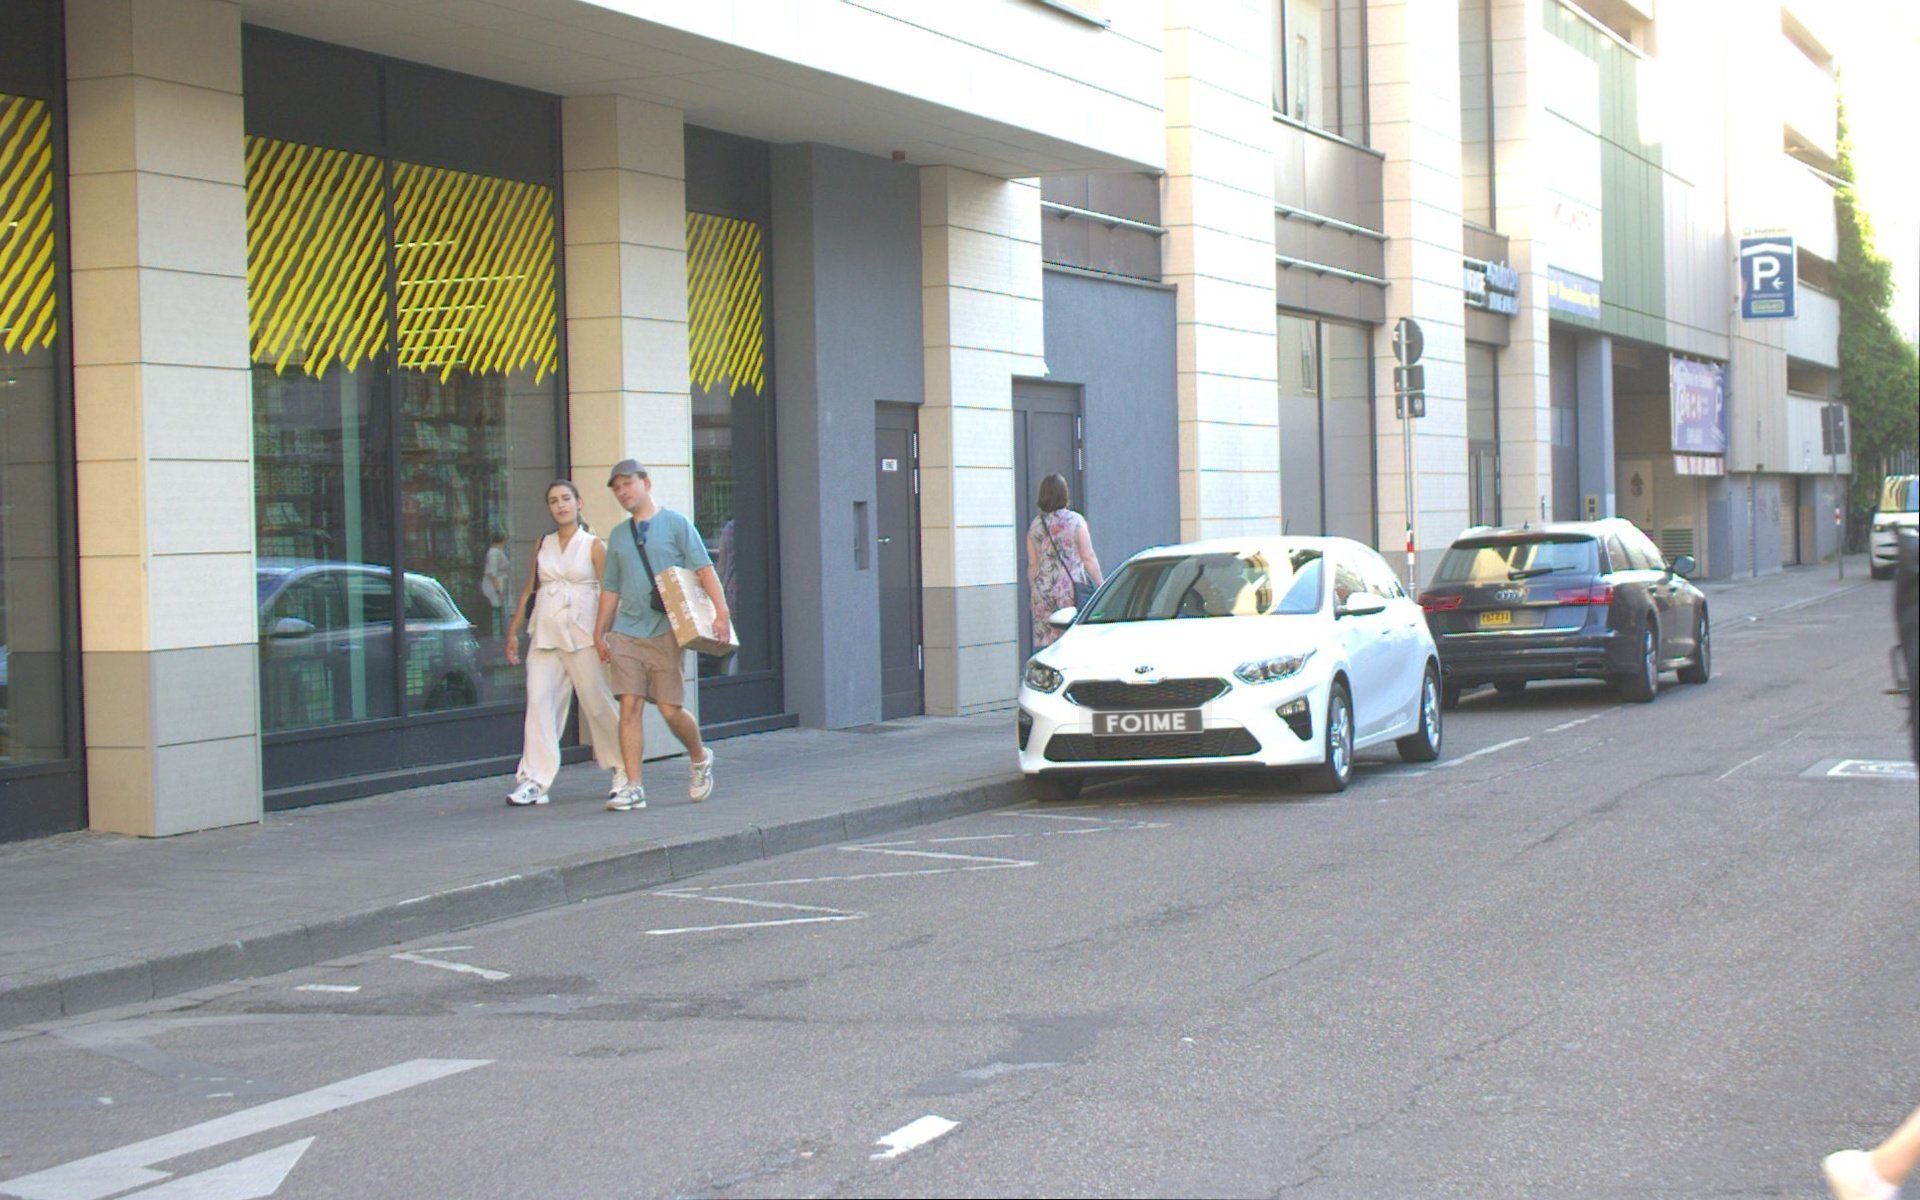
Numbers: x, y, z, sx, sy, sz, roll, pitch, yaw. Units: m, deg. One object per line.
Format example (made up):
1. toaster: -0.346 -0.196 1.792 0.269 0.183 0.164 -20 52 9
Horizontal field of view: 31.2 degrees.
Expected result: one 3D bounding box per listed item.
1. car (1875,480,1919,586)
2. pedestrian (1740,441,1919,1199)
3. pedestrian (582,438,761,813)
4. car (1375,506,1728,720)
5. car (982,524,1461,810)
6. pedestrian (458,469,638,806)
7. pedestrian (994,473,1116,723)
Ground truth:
1. car: 18.262 -1.282 64.261 1.885 1.905 4.744 0 2 19
2. pedestrian: 2.056 0.551 6.660 0.635 1.717 0.845 -2 2 -35
3. pedestrian: -1.436 0.116 17.191 0.672 1.830 0.647 0 2 18
4. car: 5.014 0.040 28.594 1.885 1.592 4.684 0 2 23
5. car: 1.662 0.309 20.298 1.779 1.448 4.227 0 2 19
6. pedestrian: -2.082 0.176 17.420 0.672 1.669 0.647 0 2 18
7. pedestrian: 0.676 -0.023 24.339 0.672 1.738 0.647 0 1 21
